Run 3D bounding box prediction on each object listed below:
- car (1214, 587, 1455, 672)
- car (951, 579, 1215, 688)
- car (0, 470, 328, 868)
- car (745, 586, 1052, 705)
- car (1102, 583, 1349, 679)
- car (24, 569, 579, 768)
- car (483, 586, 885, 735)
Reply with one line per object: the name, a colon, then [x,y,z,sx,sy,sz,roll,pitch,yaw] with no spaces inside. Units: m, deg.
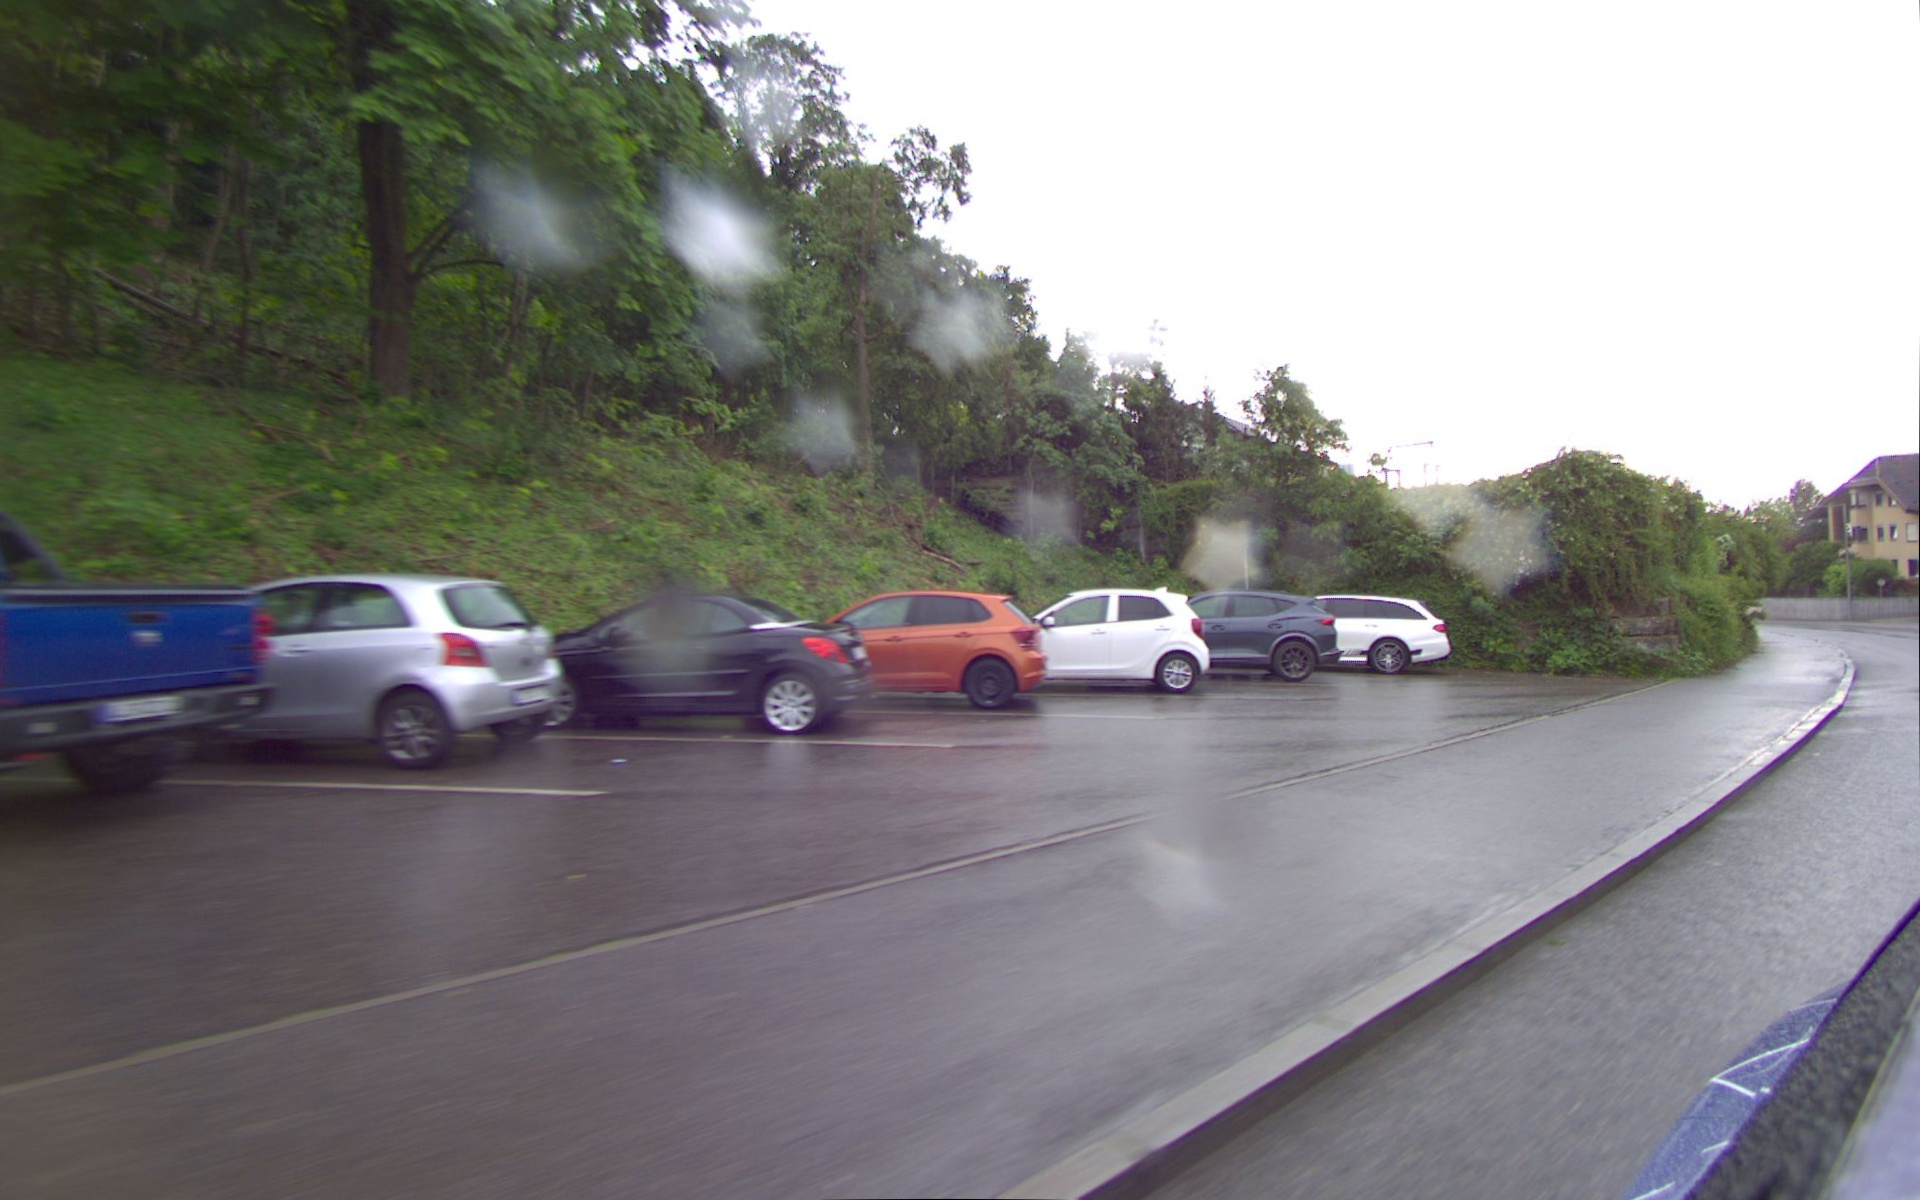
car: [7.237,0.525,19.936,4.257,1.482,1.802,1,0,18]
car: [1.782,0.471,15.332,3.726,1.498,1.751,1,0,3]
car: [-7.343,0.322,6.474,5.389,1.994,2.326,0,0,8]
car: [-0.706,0.529,13.110,3.731,1.419,1.714,0,0,8]
car: [4.539,0.500,17.843,4.023,1.526,1.748,1,0,9]
car: [-5.470,0.507,8.658,3.844,1.505,1.616,0,0,6]
car: [-2.801,0.562,10.730,3.777,1.419,1.714,0,0,7]
